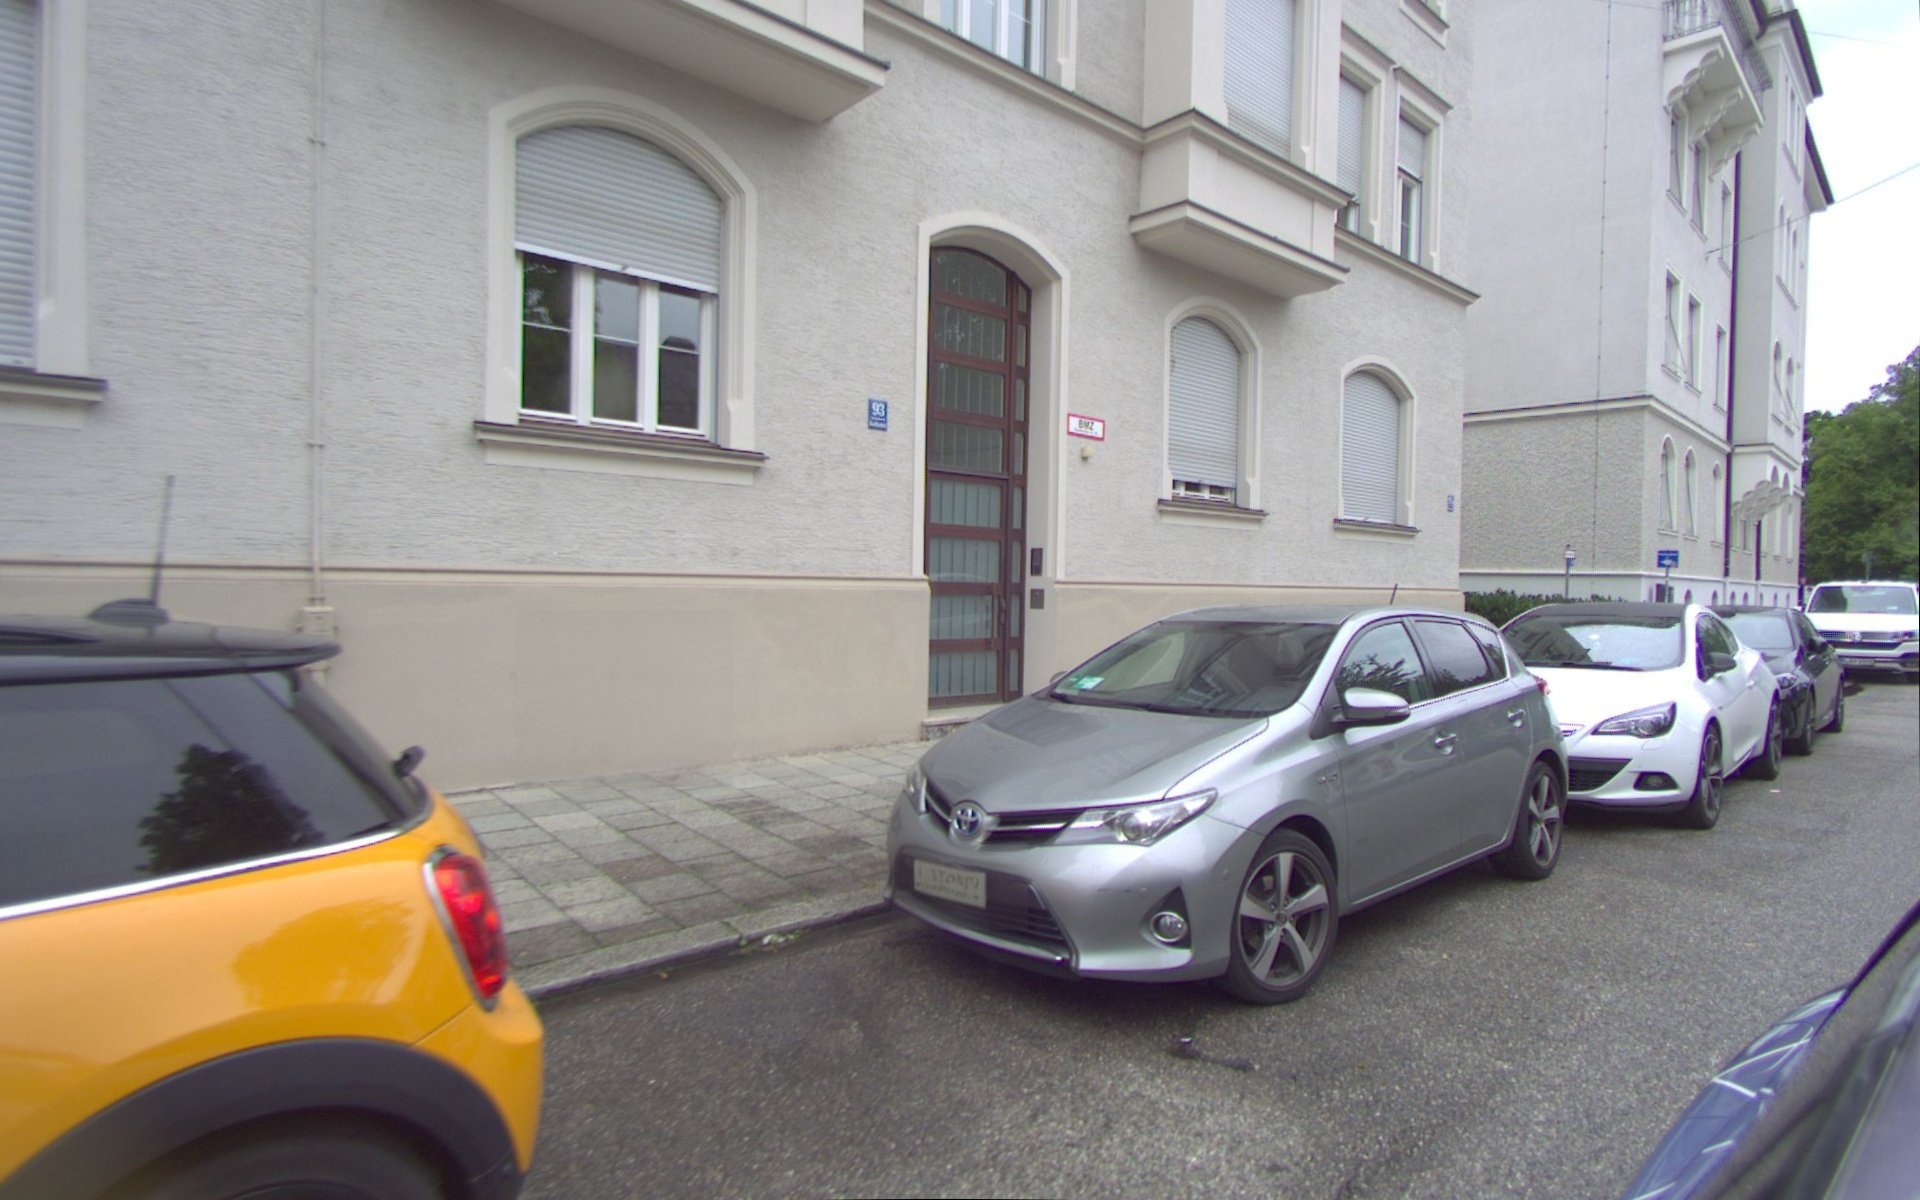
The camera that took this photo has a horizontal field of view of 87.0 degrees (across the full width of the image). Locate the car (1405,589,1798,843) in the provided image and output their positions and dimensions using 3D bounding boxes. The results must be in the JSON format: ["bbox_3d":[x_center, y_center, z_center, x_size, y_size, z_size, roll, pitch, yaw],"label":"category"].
[{"bbox_3d":[5.198,0.672,7.965,4.017,1.489,1.712,0,0,-44],"label":"car"}]

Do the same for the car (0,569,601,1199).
[{"bbox_3d":[-2.549,0.680,1.370,3.533,1.458,1.660,0,2,-40],"label":"car"}]

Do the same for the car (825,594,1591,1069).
[{"bbox_3d":[1.457,0.684,4.962,3.930,1.408,1.713,0,0,-41],"label":"car"}]

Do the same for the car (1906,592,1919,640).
[{"bbox_3d":[35.493,0.557,36.487,4.017,1.669,1.791,0,0,-44],"label":"car"}]

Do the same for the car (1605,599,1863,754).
[{"bbox_3d":[8.762,0.704,11.331,4.017,1.408,1.712,0,0,-44],"label":"car"}]

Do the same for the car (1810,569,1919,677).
[{"bbox_3d":[18.375,0.405,20.170,4.017,1.962,1.791,0,0,-44],"label":"car"}]

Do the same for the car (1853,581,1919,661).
[{"bbox_3d":[23.219,0.483,24.725,4.017,1.809,1.791,0,0,-44],"label":"car"}]

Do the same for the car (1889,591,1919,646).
[{"bbox_3d":[30.663,0.556,31.903,4.017,1.669,1.791,0,0,-44],"label":"car"}]
